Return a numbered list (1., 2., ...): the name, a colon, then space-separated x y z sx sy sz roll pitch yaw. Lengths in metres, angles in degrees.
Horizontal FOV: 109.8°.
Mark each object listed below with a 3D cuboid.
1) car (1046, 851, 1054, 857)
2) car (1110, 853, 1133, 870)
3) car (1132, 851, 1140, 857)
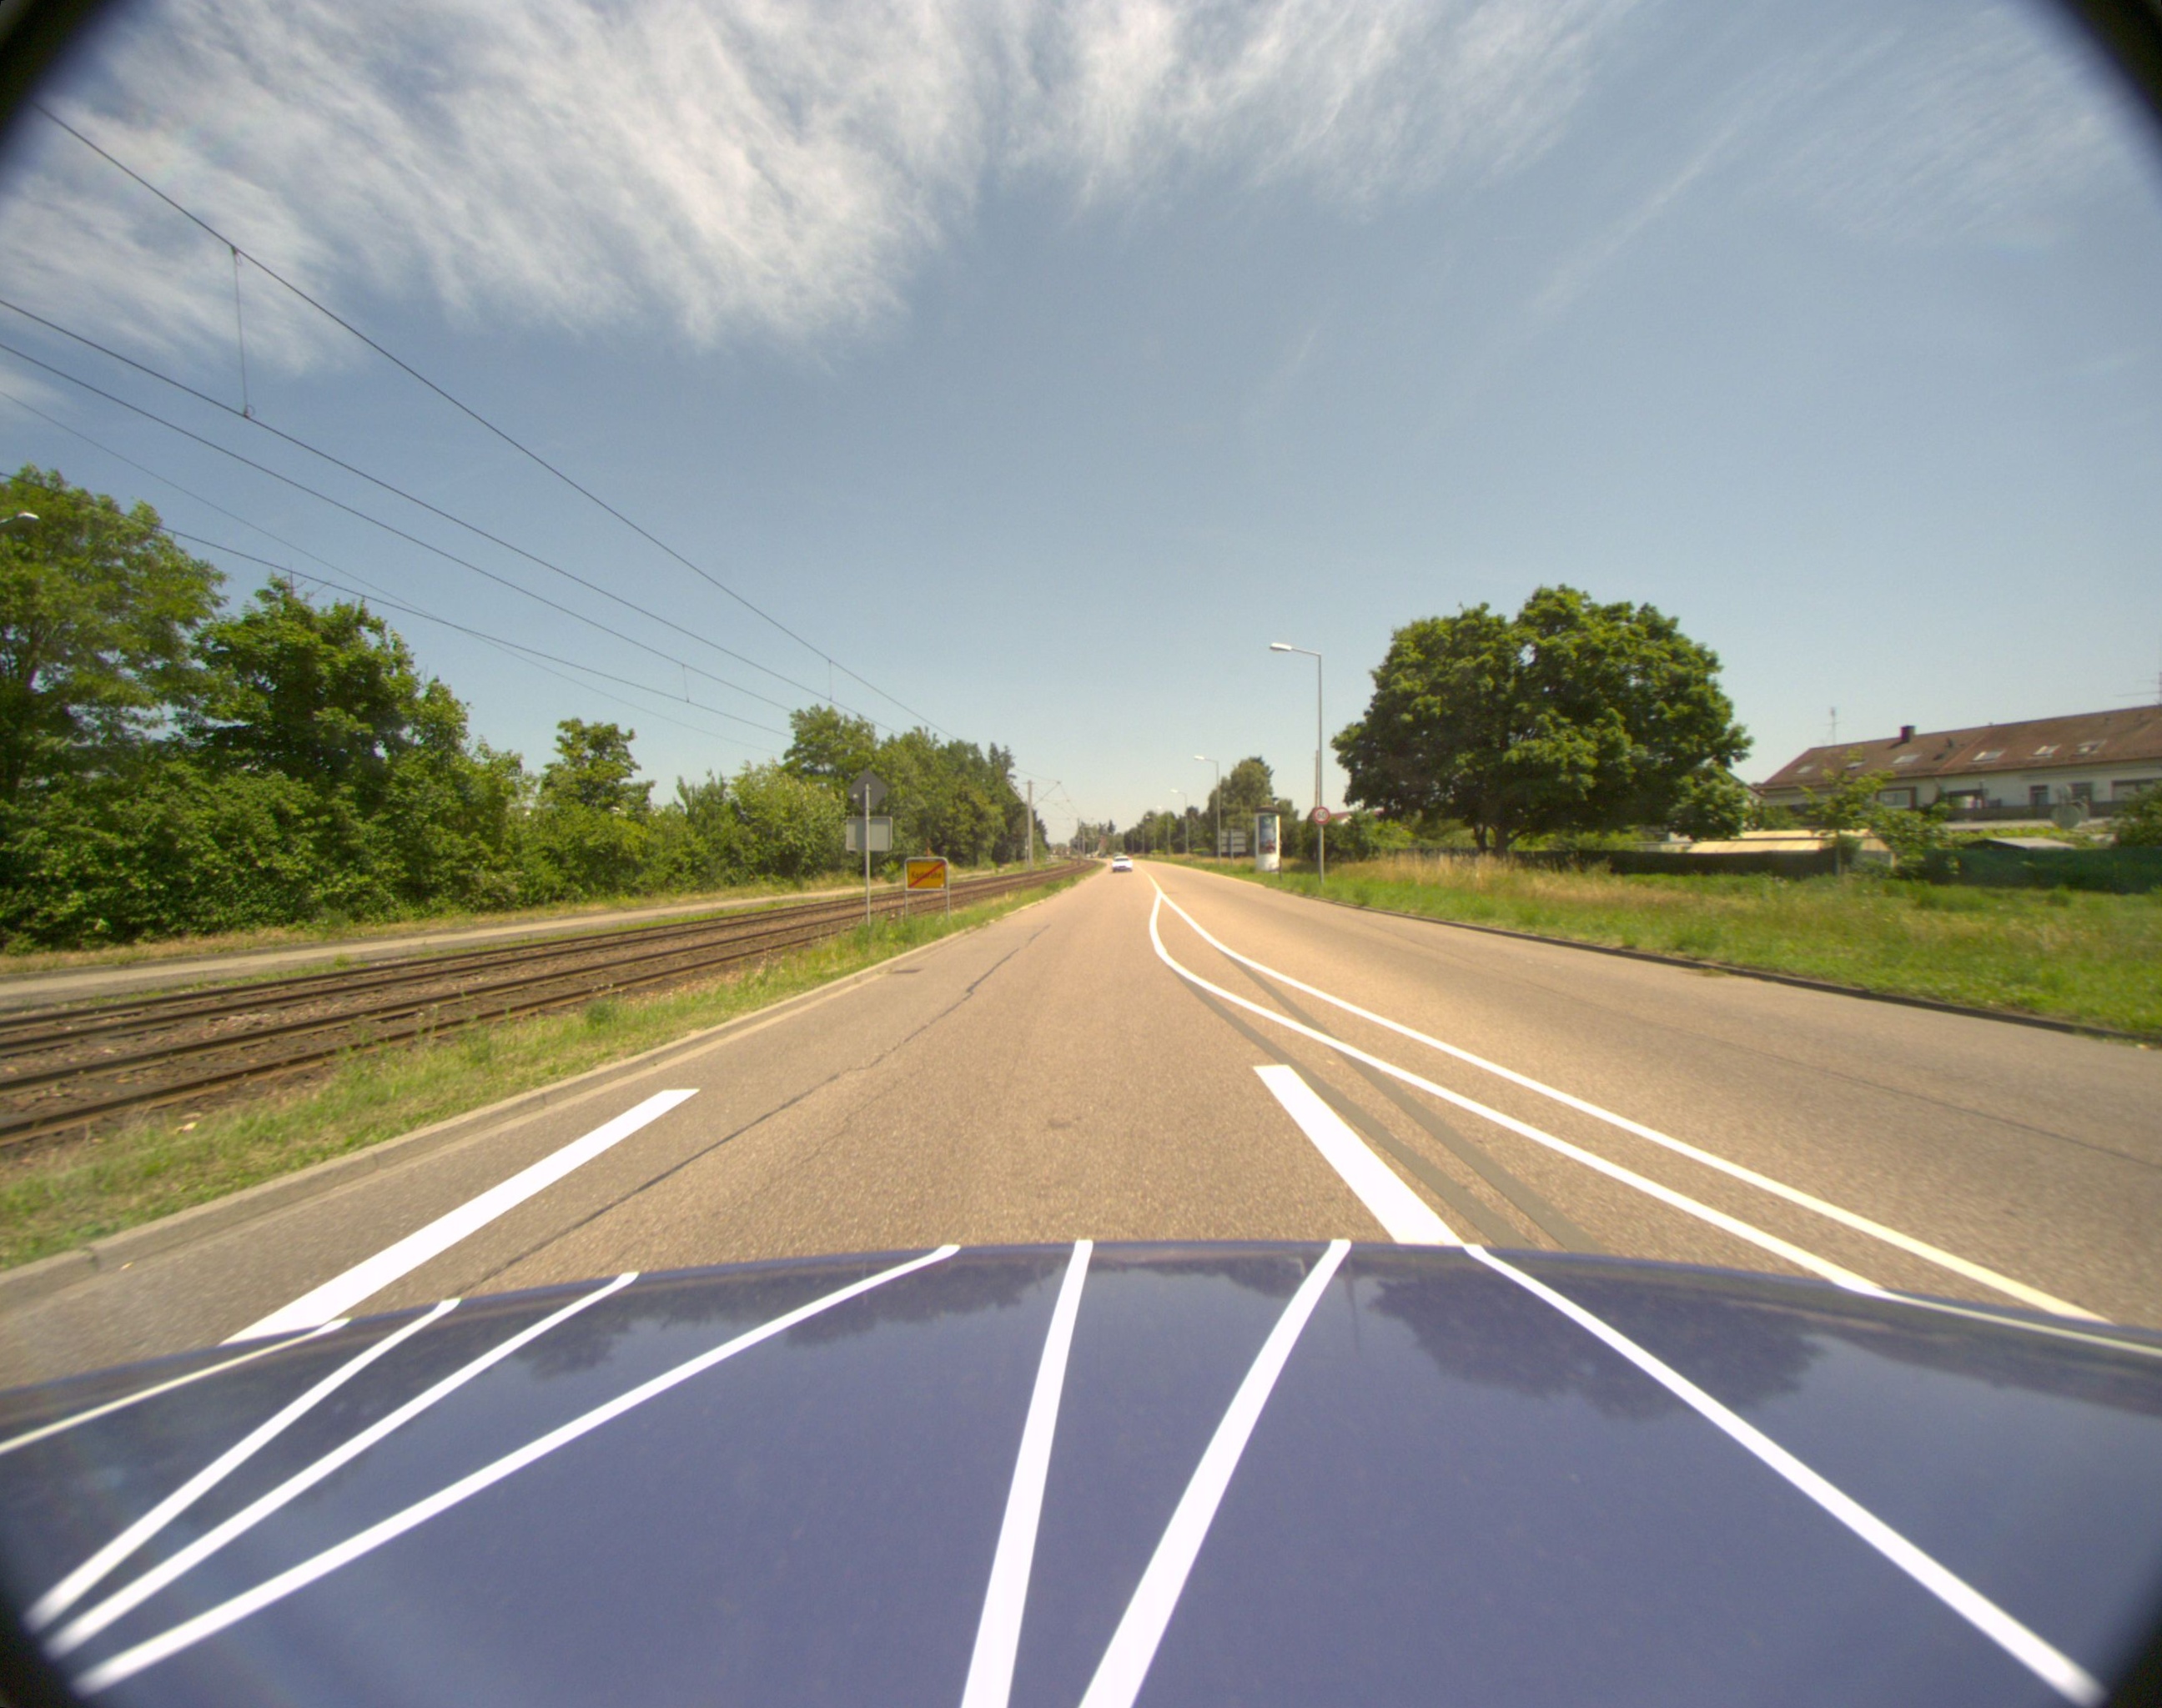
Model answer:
1. car: -9.685 0.064 238.958 1.998 1.710 3.999 -4 1 1
2. car: 3.788 0.705 70.952 1.954 1.467 4.363 -1 0 5
3. car: 13.052 -0.038 180.682 1.683 1.391 4.000 -2 0 2
